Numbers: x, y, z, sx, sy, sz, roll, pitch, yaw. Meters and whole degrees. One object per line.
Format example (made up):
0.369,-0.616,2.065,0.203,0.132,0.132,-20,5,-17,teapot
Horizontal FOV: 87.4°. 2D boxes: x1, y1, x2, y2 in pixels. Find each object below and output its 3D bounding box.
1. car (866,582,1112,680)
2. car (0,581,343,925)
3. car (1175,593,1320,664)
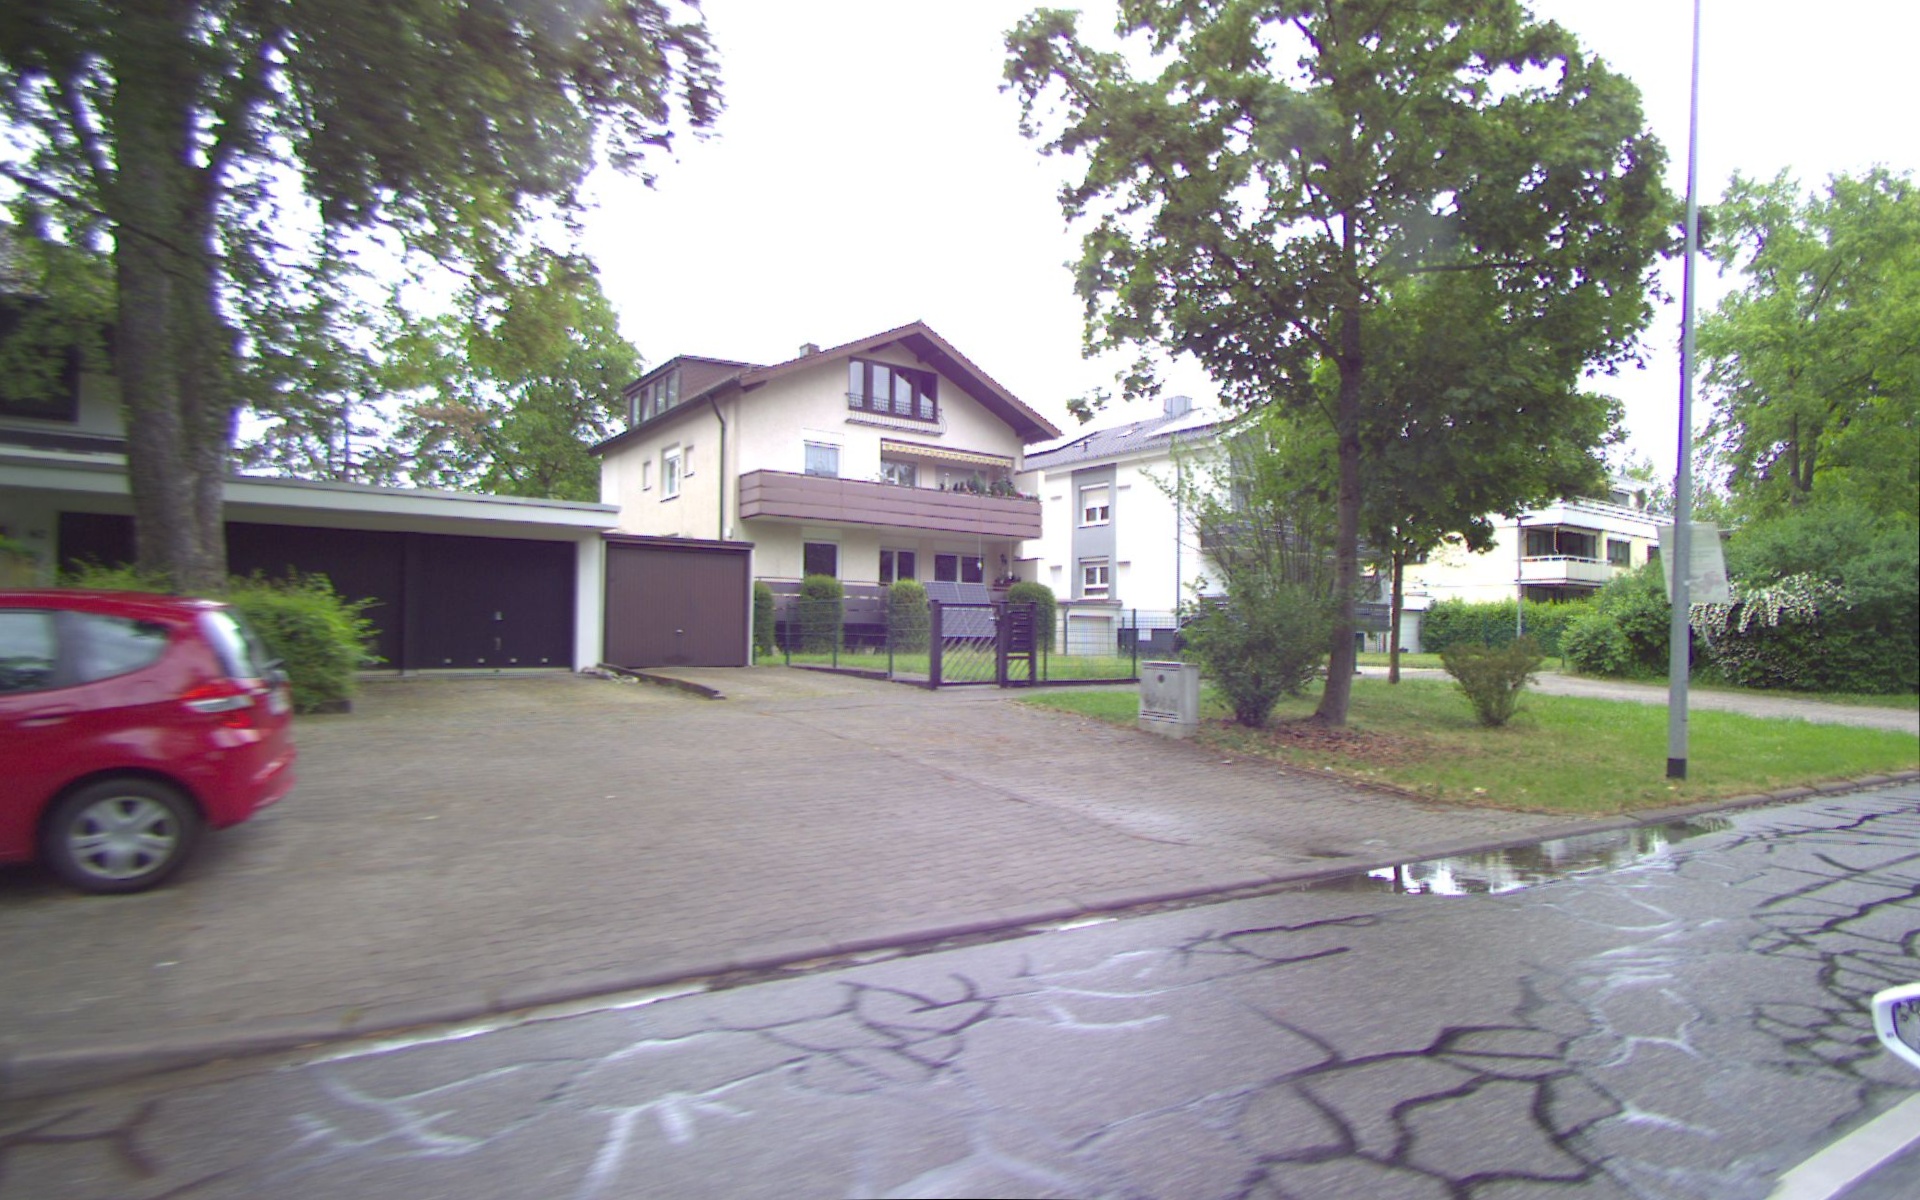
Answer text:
0.541,0.651,24.709,3.442,2.065,5.710,1,0,-33,car
-5.695,0.704,5.296,3.948,1.536,1.986,2,3,-26,car
8.783,0.895,30.971,1.980,2.040,3.961,2,-2,-35,car
